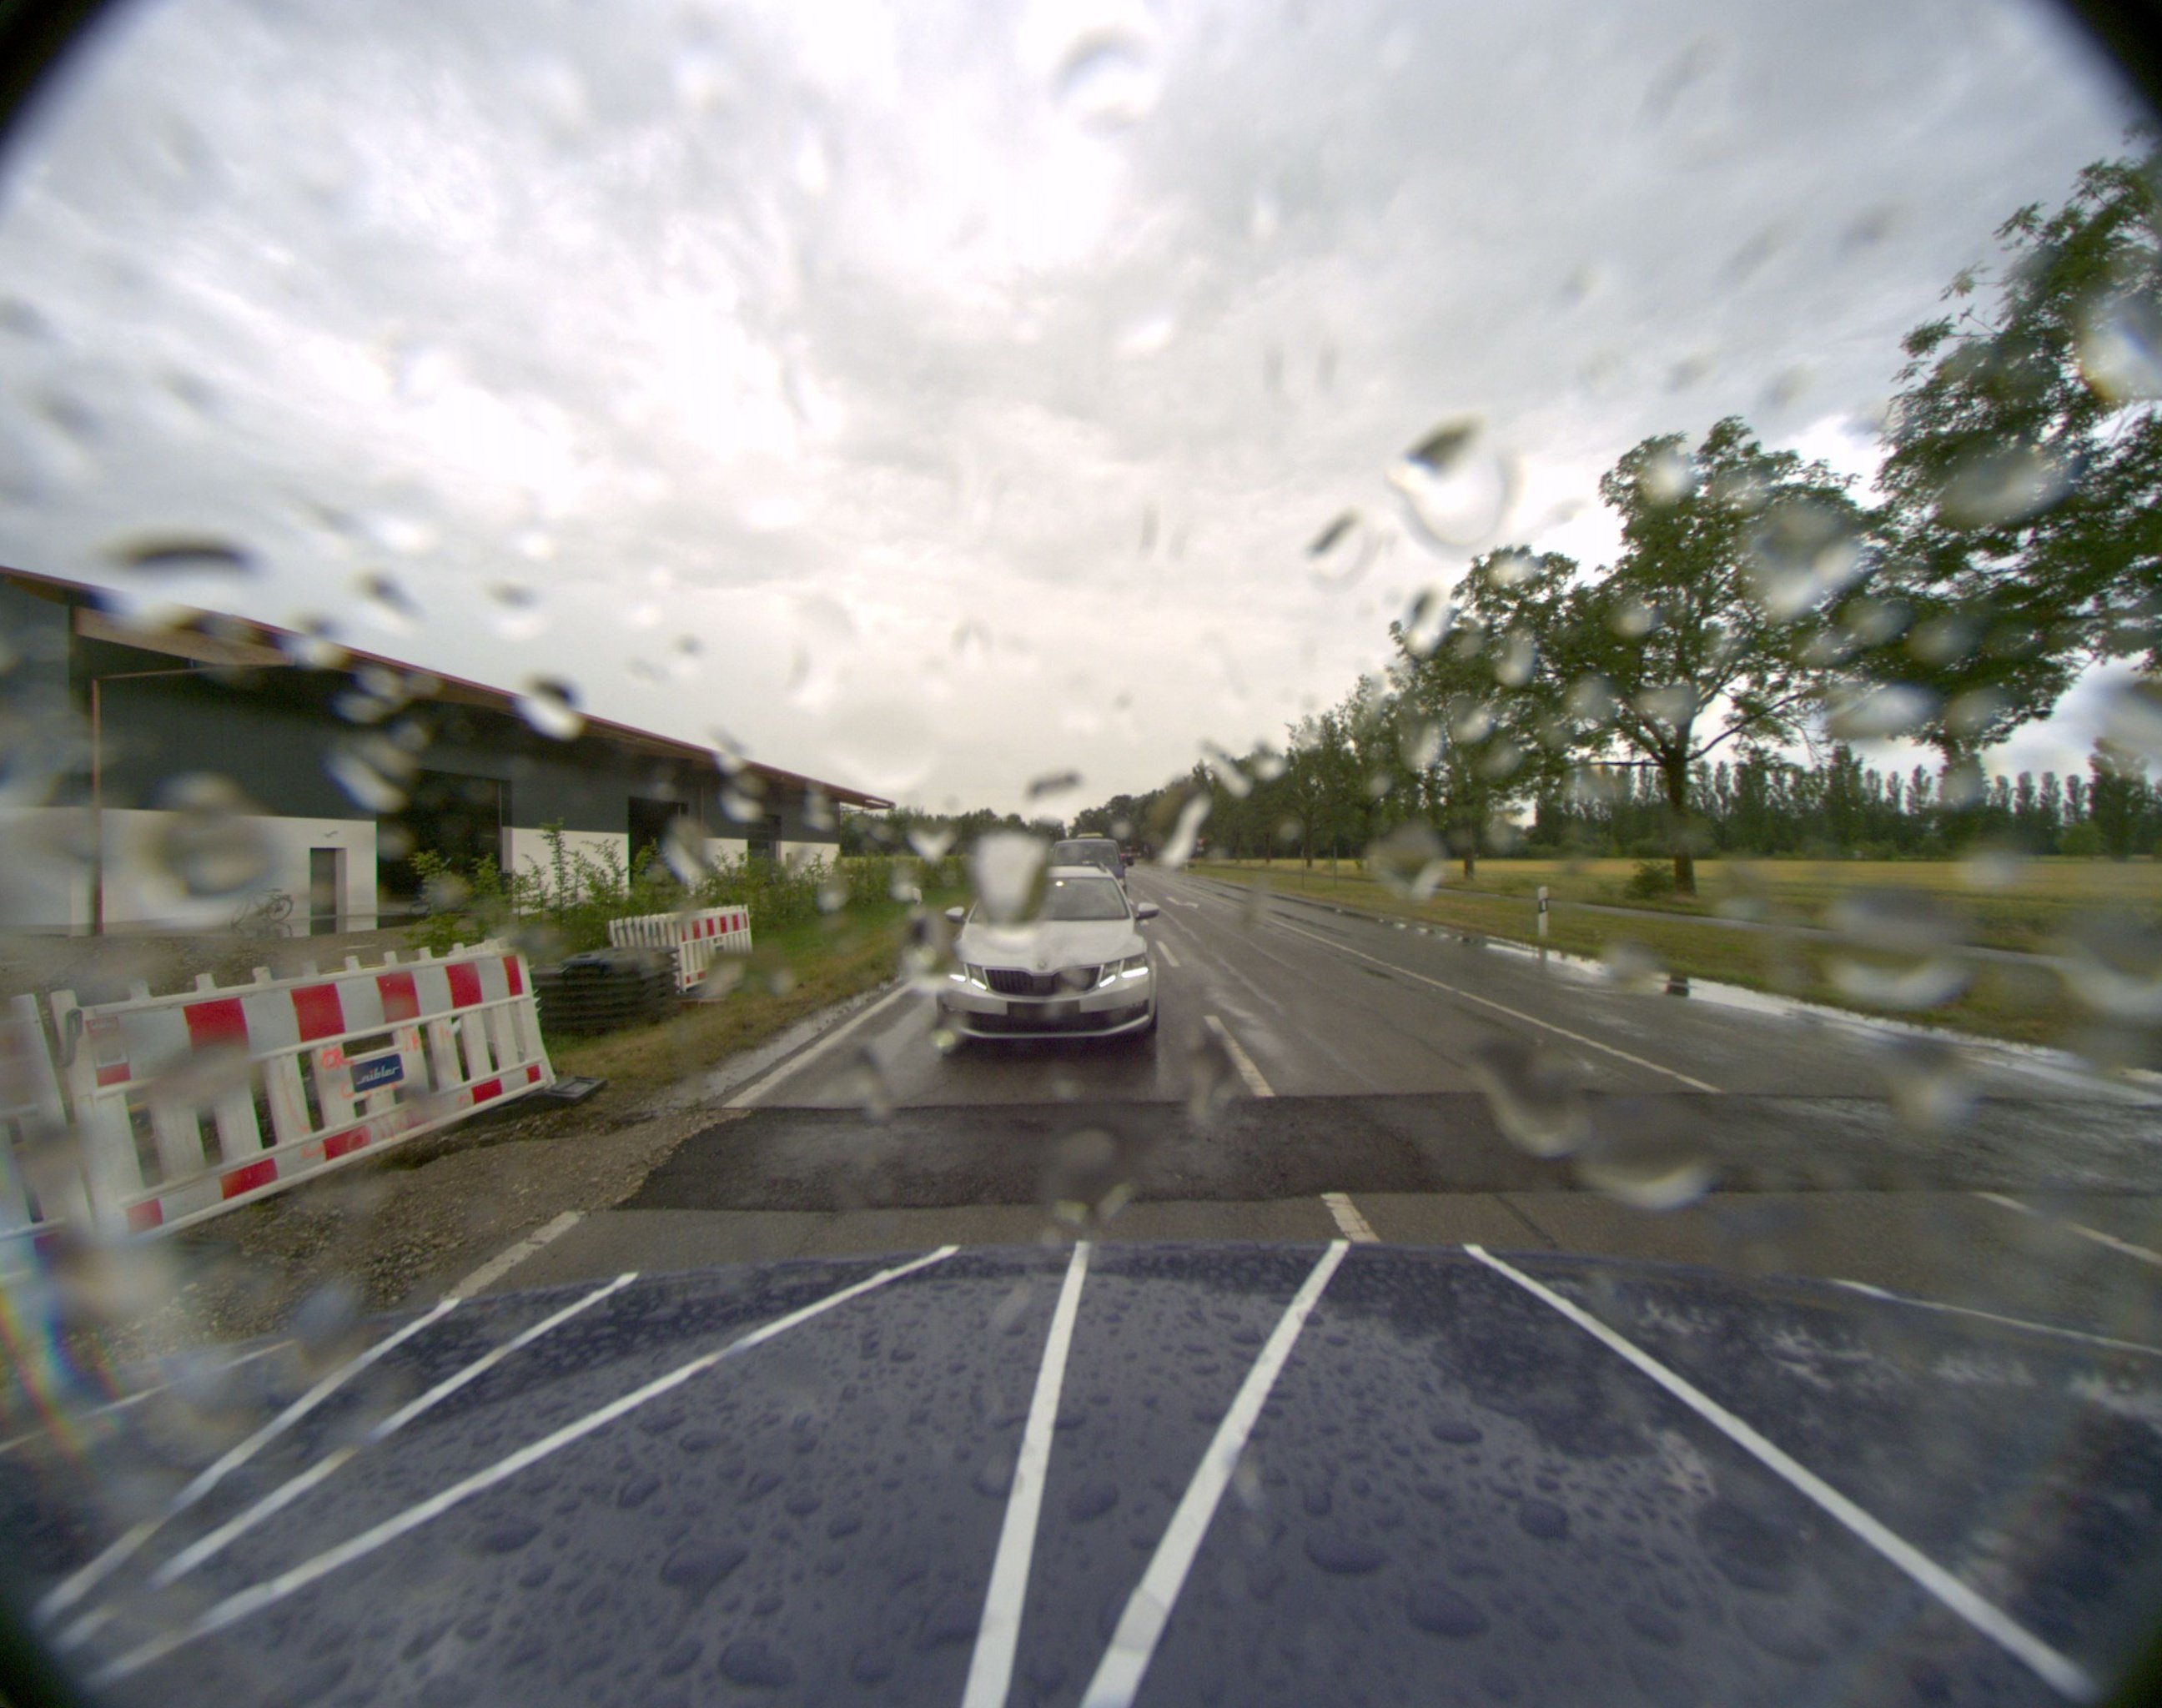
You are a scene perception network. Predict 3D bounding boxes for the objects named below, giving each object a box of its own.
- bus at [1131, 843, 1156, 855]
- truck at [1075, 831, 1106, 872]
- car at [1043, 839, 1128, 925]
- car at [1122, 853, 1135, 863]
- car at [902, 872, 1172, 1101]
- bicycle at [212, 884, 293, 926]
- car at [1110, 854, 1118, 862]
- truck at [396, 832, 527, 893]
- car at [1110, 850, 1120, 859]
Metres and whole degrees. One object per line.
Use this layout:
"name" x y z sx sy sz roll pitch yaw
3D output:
"bus" 16.261 -1.386 195.894 2.953 2.895 12.494 1 1 21
"truck" 1.025 -0.302 79.365 2.931 3.829 14.119 0 0 1
"car" 0.129 0.609 19.087 1.892 1.939 4.000 0 1 1
"car" 6.986 0.568 112.496 1.724 1.396 4.043 1 1 0
"car" -0.277 0.986 7.615 1.843 1.379 4.569 -2 1 1
"bicycle" -23.131 1.403 21.260 0.391 1.066 1.661 0 1 1
"car" 6.629 0.807 153.062 1.708 1.661 4.156 1 1 2
"truck" -32.546 0.412 40.213 2.496 2.996 5.343 0 1 1
"car" 7.289 0.033 163.697 1.921 1.851 4.684 1 1 0
